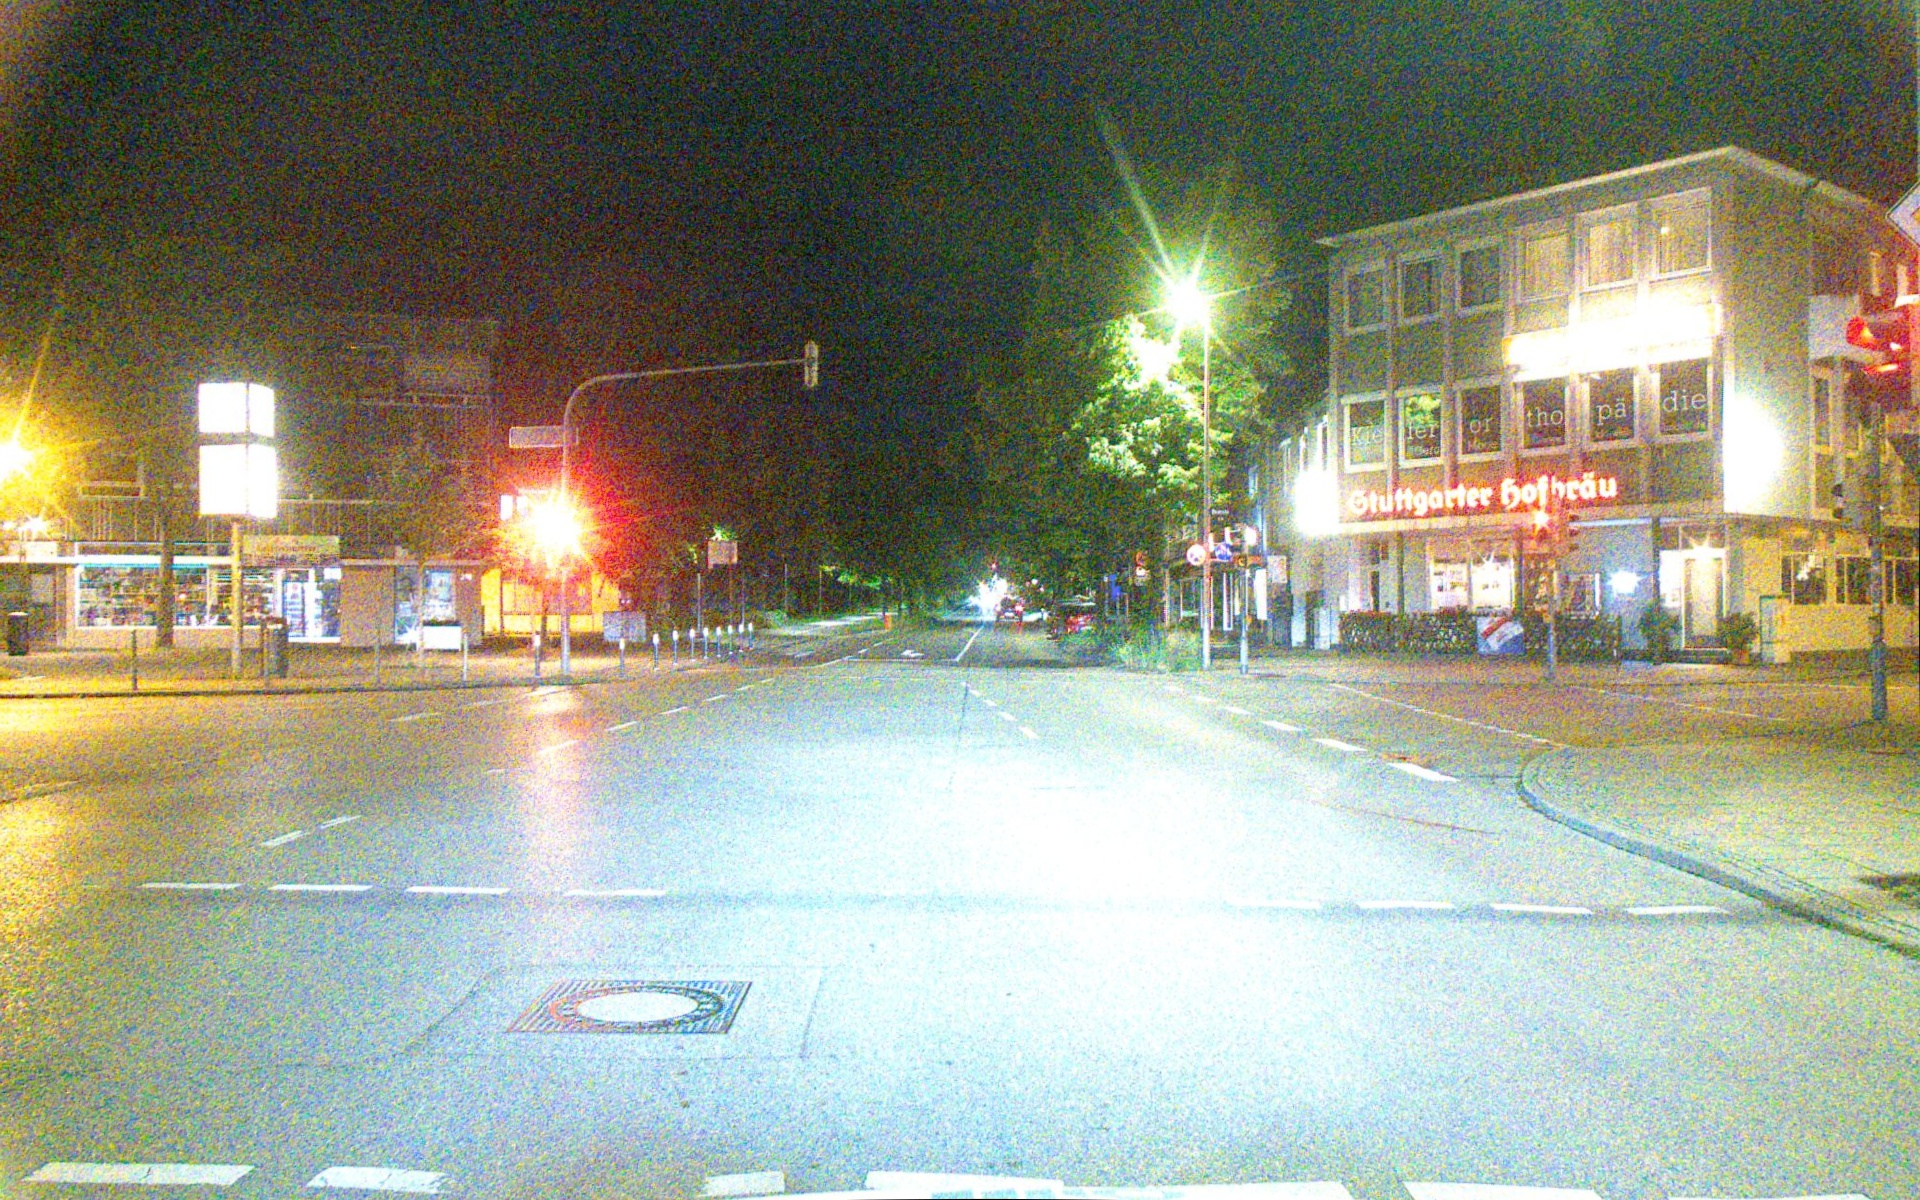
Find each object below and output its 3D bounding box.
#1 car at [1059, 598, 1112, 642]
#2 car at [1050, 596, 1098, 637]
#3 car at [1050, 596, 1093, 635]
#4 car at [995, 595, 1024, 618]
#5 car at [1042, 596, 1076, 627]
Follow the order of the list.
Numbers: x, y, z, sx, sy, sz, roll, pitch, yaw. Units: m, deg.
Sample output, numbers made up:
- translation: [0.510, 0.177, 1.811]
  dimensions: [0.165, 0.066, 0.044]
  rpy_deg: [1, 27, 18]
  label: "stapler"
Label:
- translation: [4.801, 0.757, 63.663]
  dimensions: [1.837, 1.643, 4.001]
  rpy_deg: [0, 0, 2]
  label: "car"
- translation: [4.726, 0.682, 68.851]
  dimensions: [1.837, 1.643, 4.001]
  rpy_deg: [0, 0, 2]
  label: "car"
- translation: [5.150, 0.711, 76.528]
  dimensions: [1.837, 1.759, 4.001]
  rpy_deg: [0, 0, 2]
  label: "car"
- translation: [3.246, 0.431, 109.152]
  dimensions: [1.835, 1.479, 4.316]
  rpy_deg: [1, 0, 1]
  label: "car"
- translation: [5.661, 0.662, 94.557]
  dimensions: [1.837, 1.713, 4.001]
  rpy_deg: [0, 0, 2]
  label: "car"
